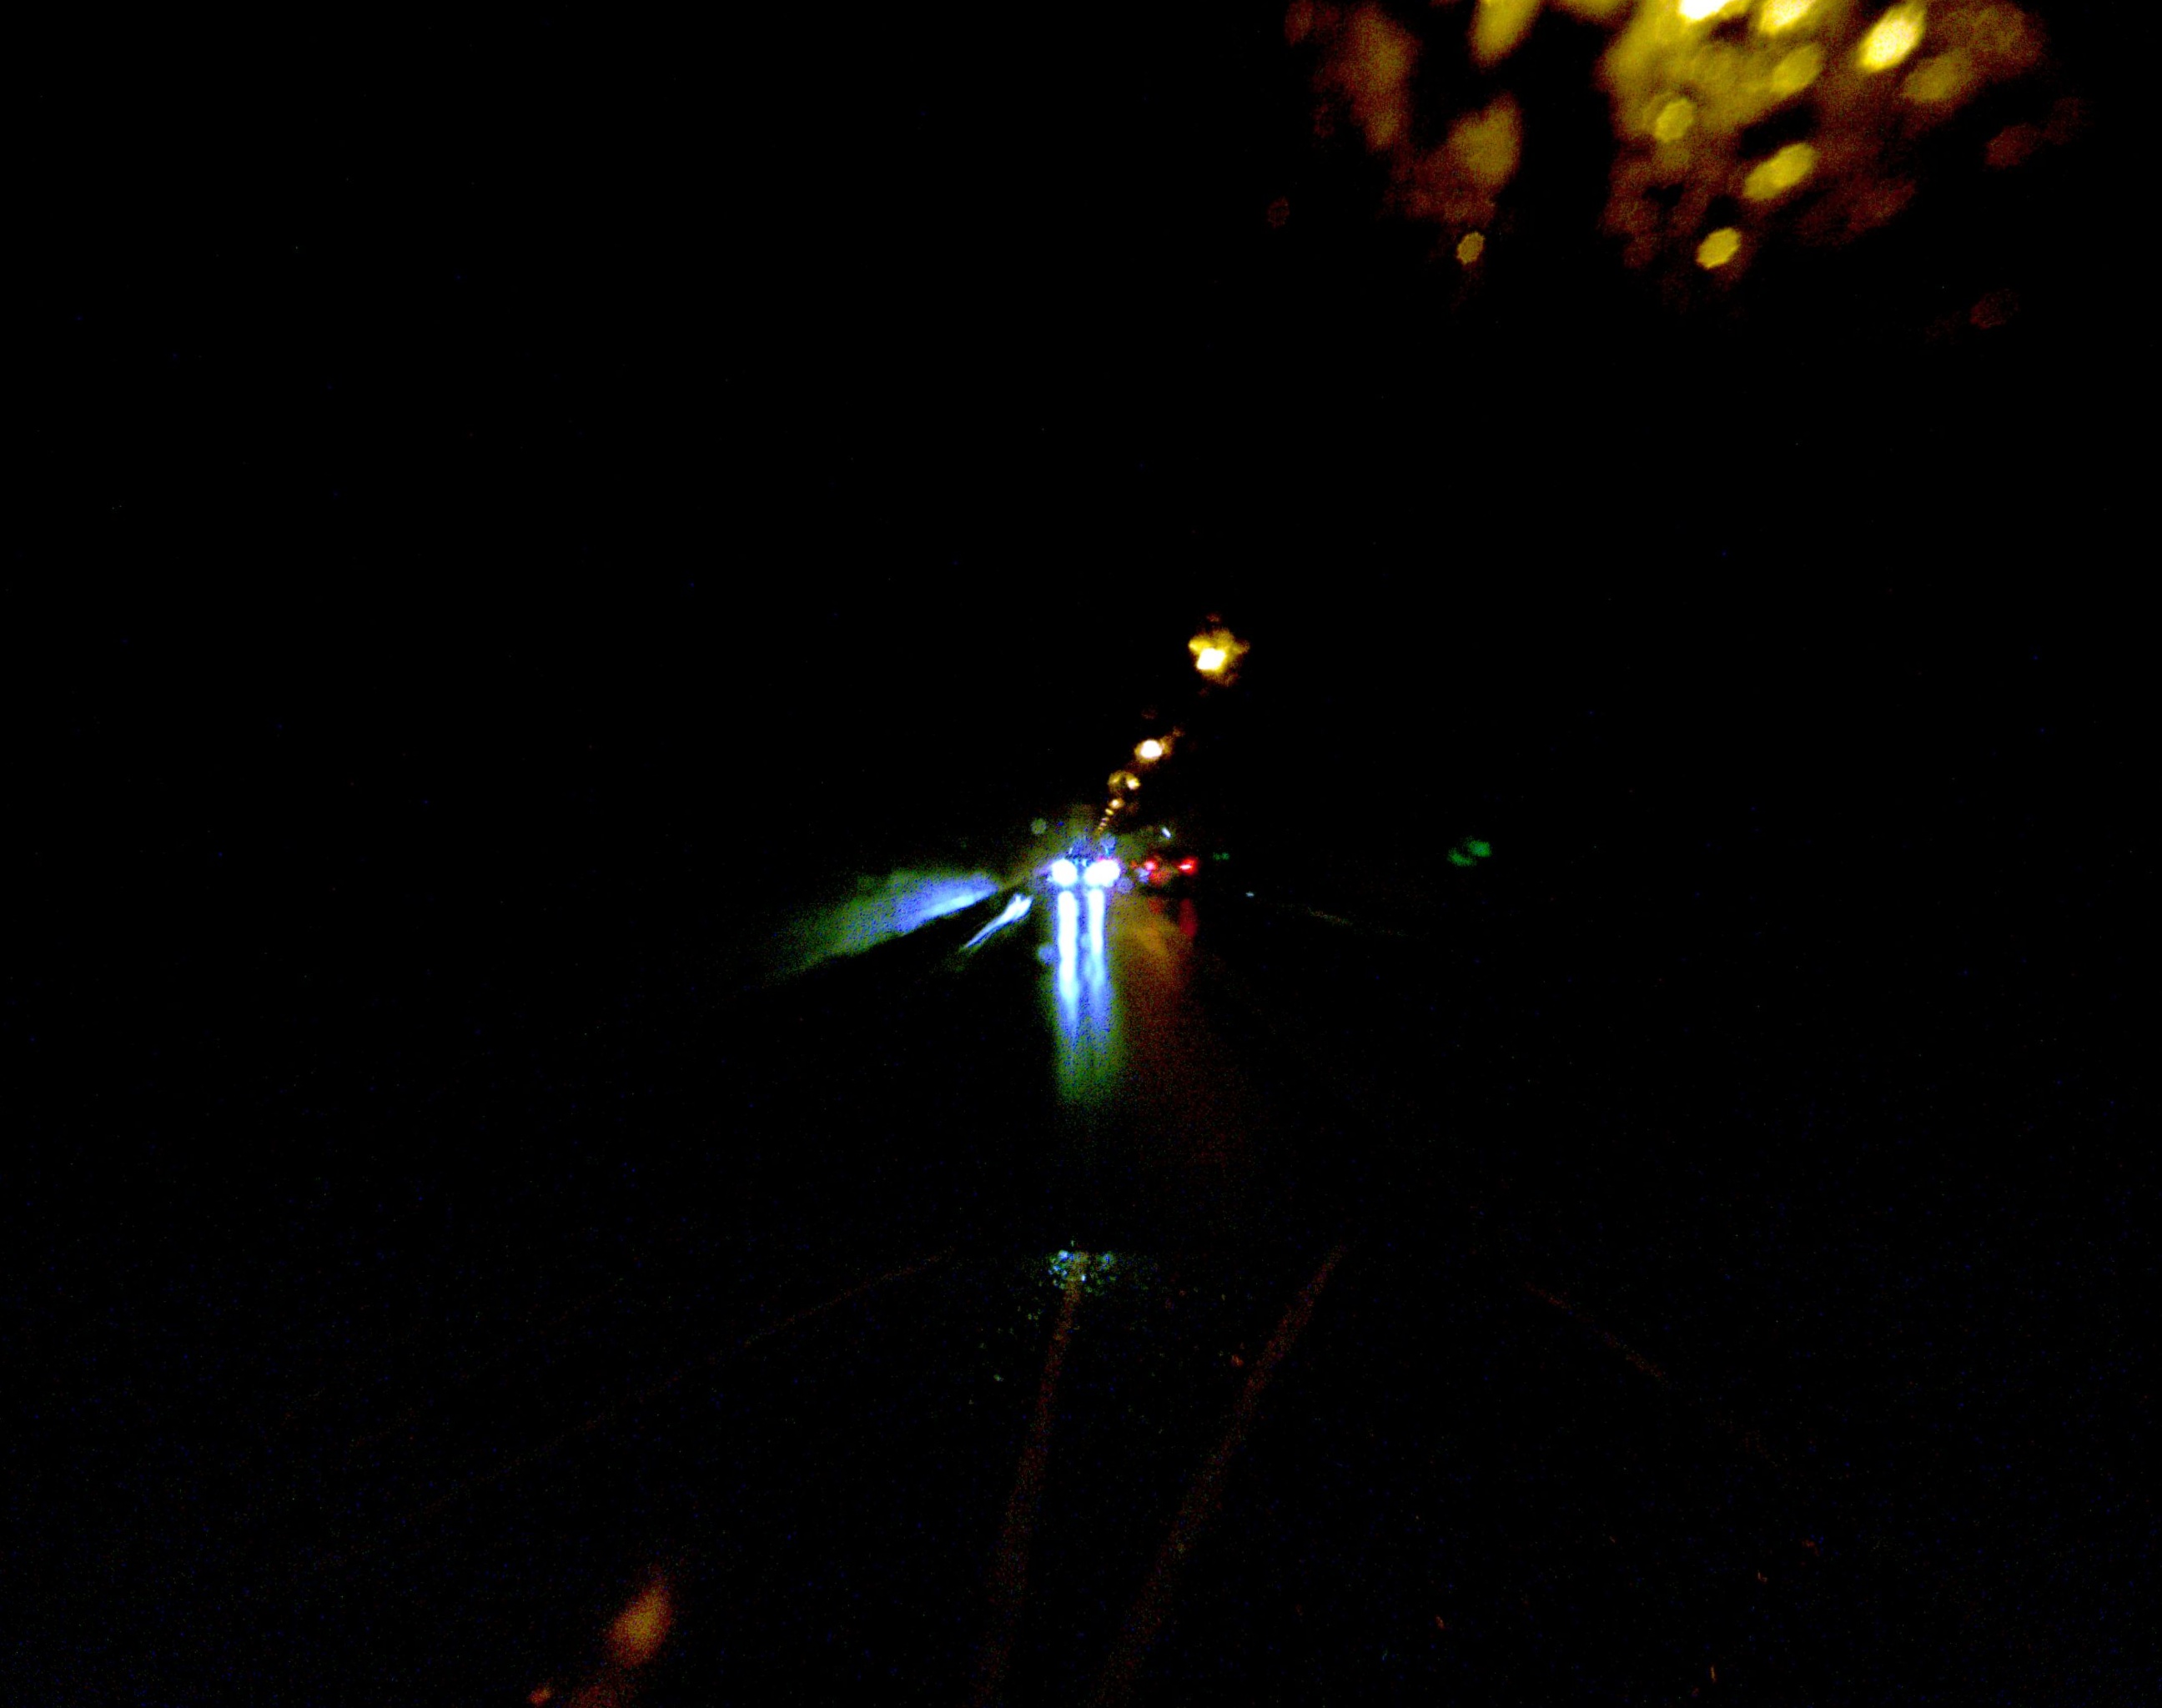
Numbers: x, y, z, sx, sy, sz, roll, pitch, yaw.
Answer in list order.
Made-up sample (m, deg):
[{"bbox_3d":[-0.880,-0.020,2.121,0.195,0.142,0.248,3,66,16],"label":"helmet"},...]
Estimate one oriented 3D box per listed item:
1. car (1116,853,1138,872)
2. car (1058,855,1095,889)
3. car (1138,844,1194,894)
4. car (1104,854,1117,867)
[{"bbox_3d":[4.016,0.714,66.479,1.639,1.618,4.145,-2,0,1],"label":"car"},{"bbox_3d":[-0.192,0.812,36.316,1.627,1.487,3.584,-2,0,1],"label":"car"},{"bbox_3d":[3.527,0.567,32.216,1.785,1.917,5.138,-2,0,1],"label":"car"},{"bbox_3d":[3.928,0.832,102.474,1.627,1.603,3.584,-2,0,1],"label":"car"}]
